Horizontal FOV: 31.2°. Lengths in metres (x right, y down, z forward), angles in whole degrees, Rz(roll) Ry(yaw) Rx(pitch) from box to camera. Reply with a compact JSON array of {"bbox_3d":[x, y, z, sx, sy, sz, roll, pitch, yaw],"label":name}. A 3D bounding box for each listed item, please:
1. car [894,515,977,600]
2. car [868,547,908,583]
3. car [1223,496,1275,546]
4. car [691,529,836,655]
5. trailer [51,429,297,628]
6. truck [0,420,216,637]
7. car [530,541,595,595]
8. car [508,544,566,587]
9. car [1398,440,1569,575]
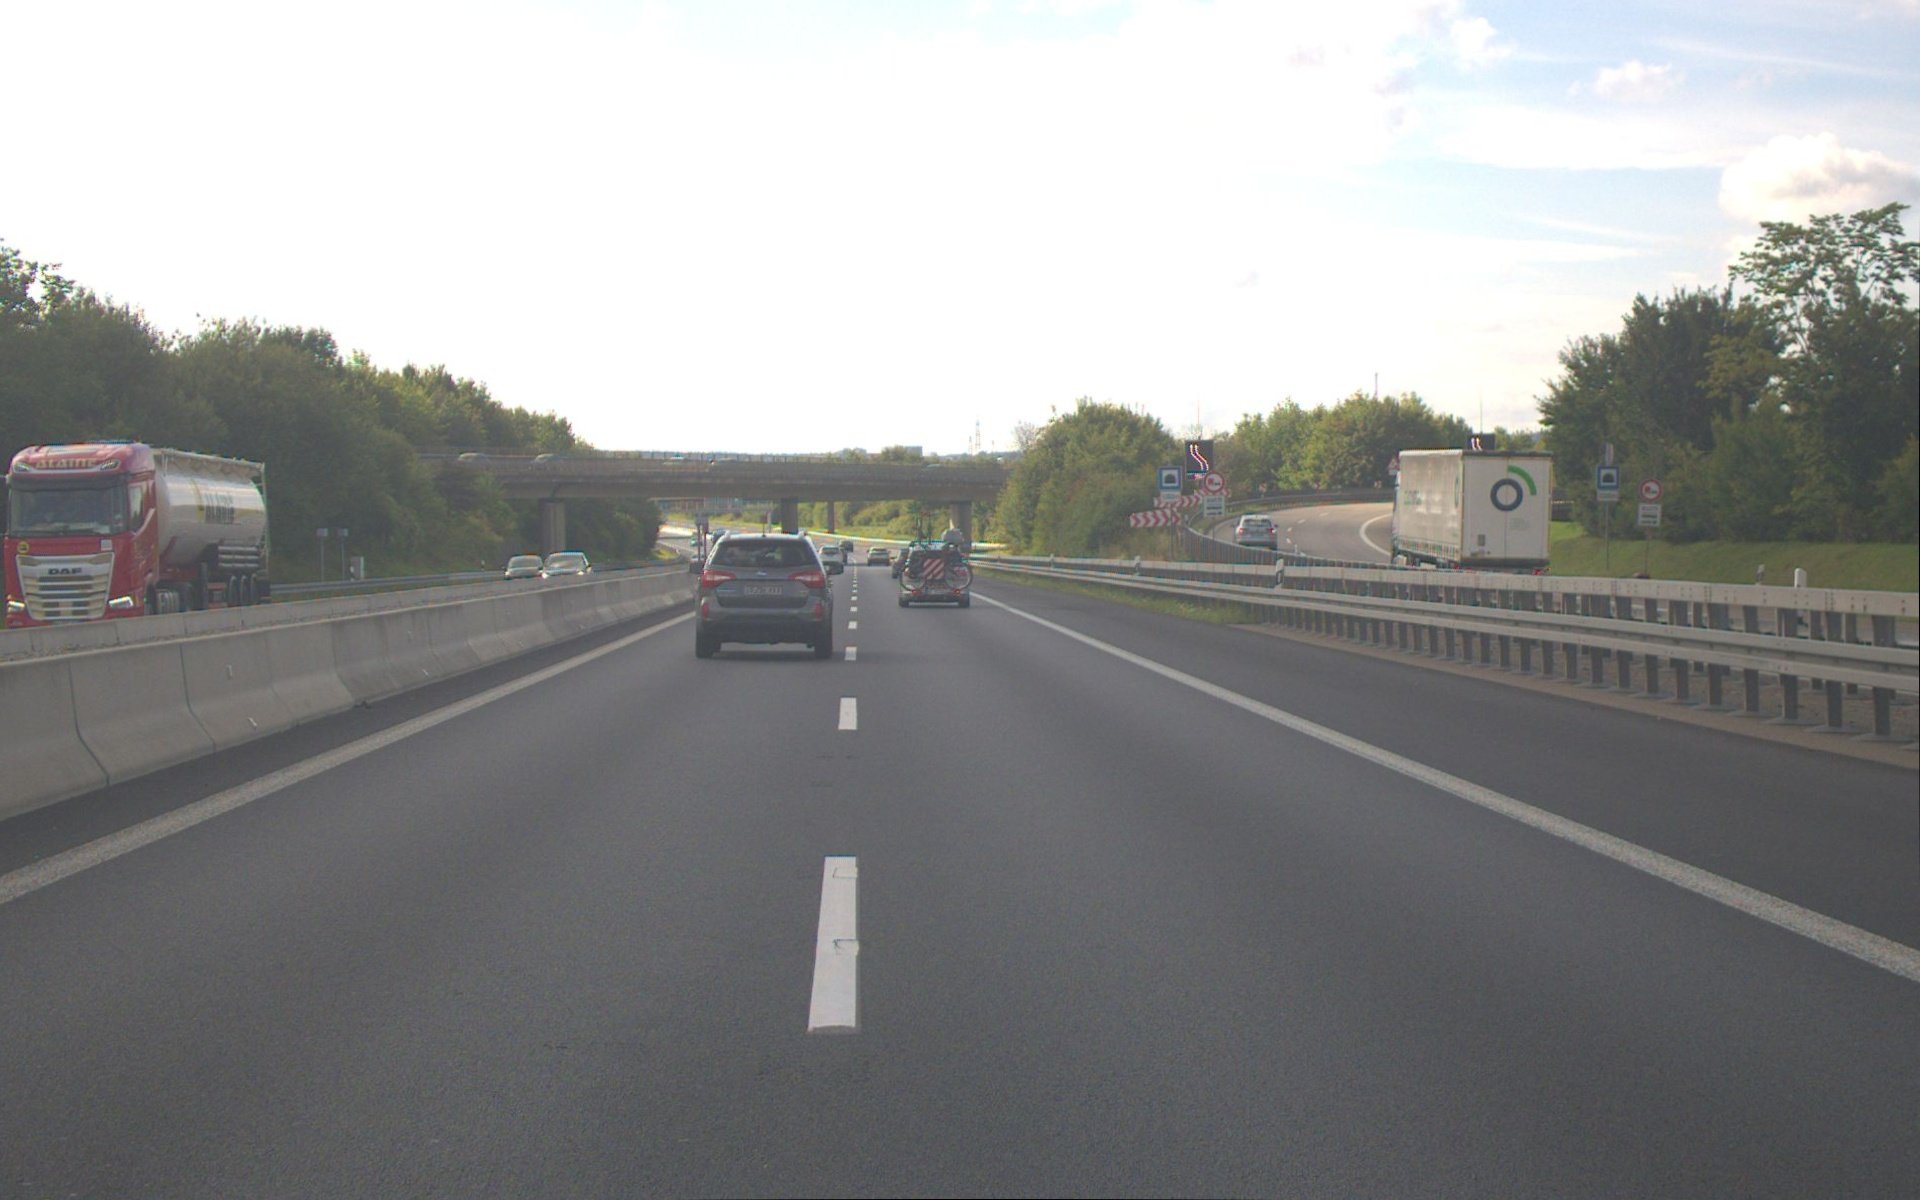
[{"bbox_3d":[-0.652,-1.095,88.161,1.993,2.073,4.000,-2,1,-1],"label":"car"},{"bbox_3d":[-3.692,-1.812,175.732,1.975,1.773,4.121,-2,1,-2],"label":"car"},{"bbox_3d":[12.060,-3.285,143.670,1.994,2.007,4.000,-2,1,3],"label":"car"},{"bbox_3d":[-2.680,-0.134,47.514,1.750,1.624,3.609,-2,1,0],"label":"car"},{"bbox_3d":[-16.718,-1.516,73.966,2.713,3.873,11.161,-2,1,-1],"label":"trailer"},{"bbox_3d":[-16.608,-1.372,66.810,2.737,3.911,6.901,-2,1,-1],"label":"truck"},{"bbox_3d":[-14.174,-1.148,122.662,1.807,1.826,4.397,-2,1,-1],"label":"car"},{"bbox_3d":[-17.542,-1.442,142.718,1.993,1.711,4.000,-2,1,-1],"label":"car"},{"bbox_3d":[15.189,-2.658,100.330,3.576,3.664,7.549,-2,1,-1],"label":"car"}]
